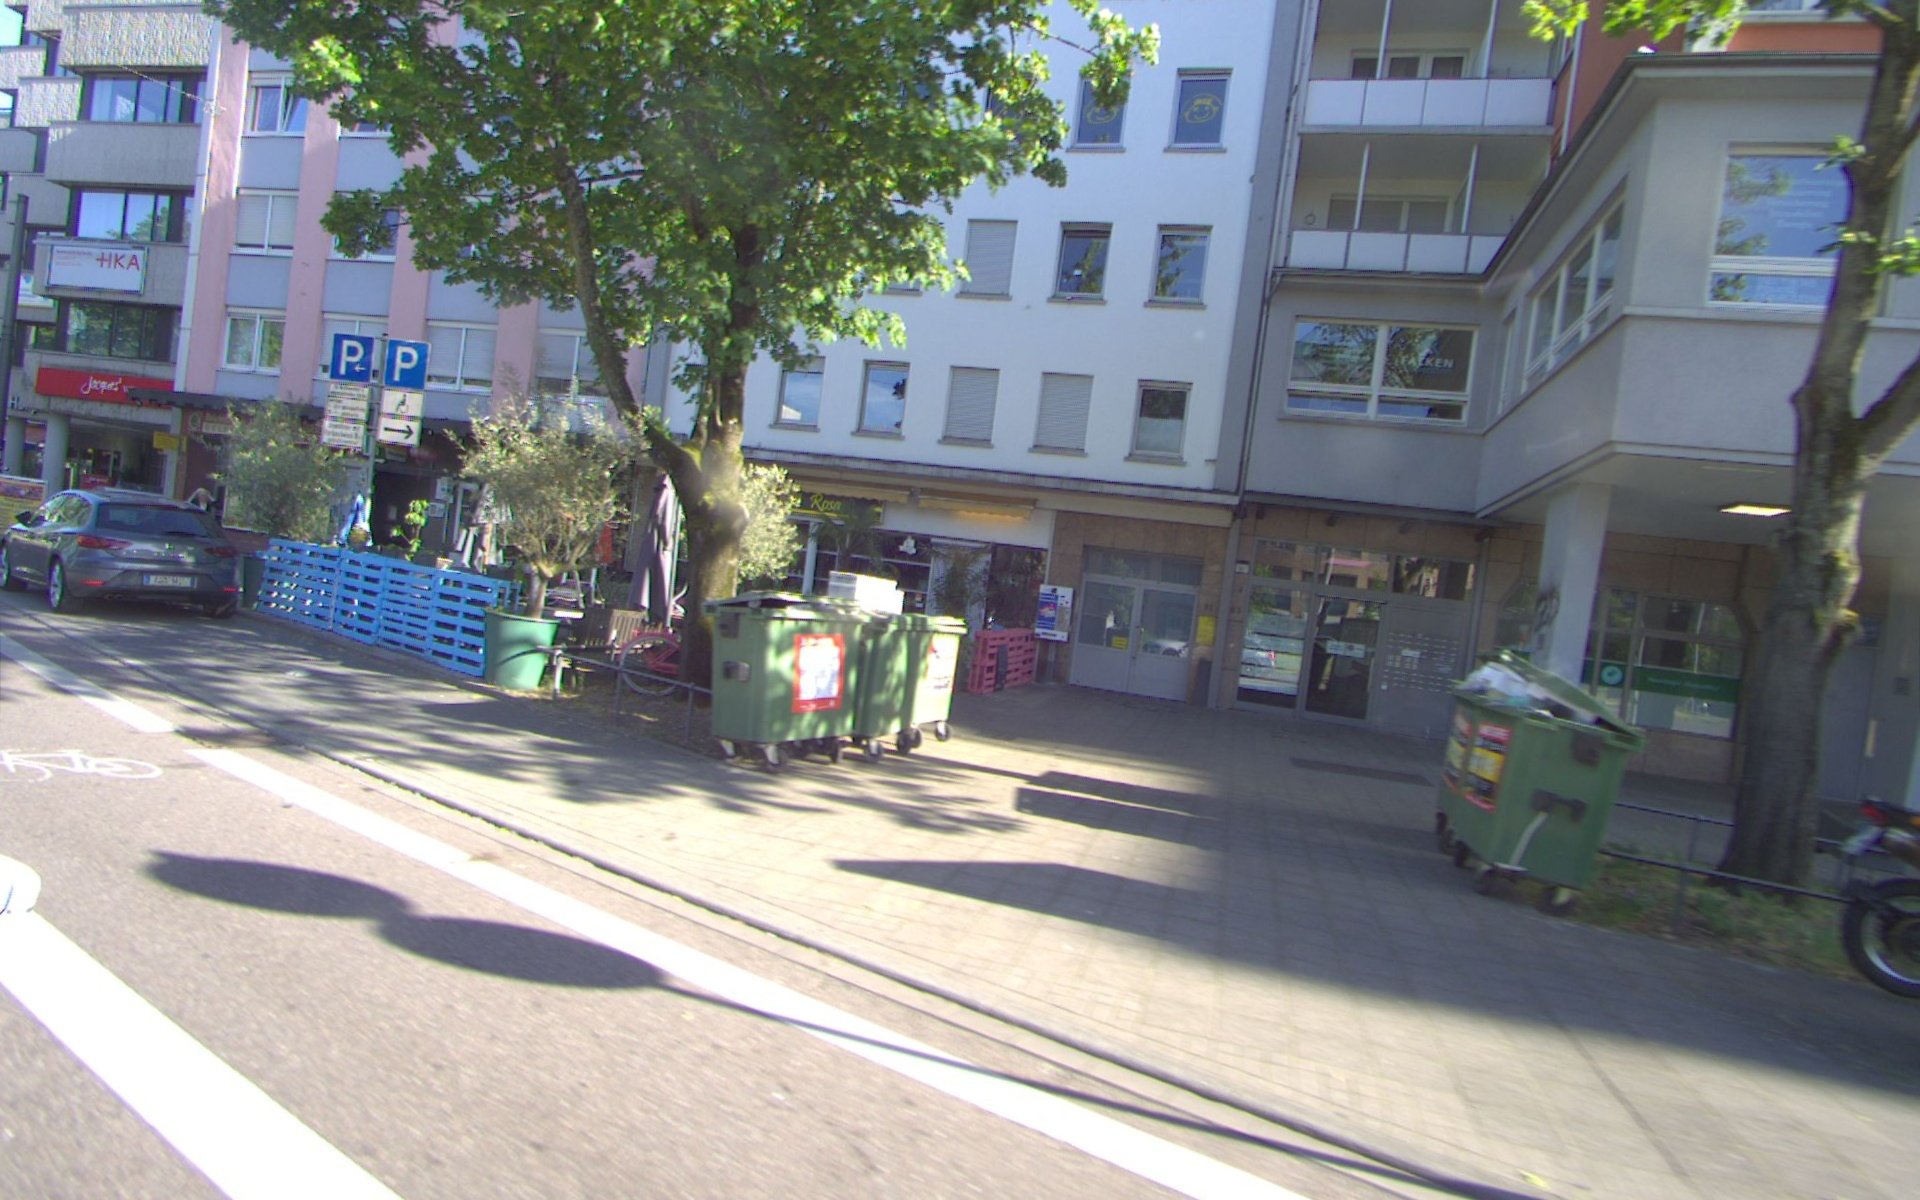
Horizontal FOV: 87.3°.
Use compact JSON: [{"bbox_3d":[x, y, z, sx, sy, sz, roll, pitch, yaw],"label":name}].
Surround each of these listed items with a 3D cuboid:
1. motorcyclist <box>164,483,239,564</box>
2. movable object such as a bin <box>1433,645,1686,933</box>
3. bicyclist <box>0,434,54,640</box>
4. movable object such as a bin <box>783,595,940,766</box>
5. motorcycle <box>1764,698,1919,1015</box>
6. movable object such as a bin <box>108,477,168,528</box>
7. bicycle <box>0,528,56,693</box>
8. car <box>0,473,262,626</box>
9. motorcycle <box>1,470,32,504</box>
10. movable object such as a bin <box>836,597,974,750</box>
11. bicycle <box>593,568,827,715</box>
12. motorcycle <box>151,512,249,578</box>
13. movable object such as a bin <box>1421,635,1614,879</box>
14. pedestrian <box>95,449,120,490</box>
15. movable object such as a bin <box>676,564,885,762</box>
[{"bbox_3d":[-16.194,-1.628,21.490,0.793,1.569,0.899,7,-1,30],"label":"motorcyclist"},{"bbox_3d":[4.066,1.200,6.993,0.989,1.660,1.385,7,0,15],"label":"movable object such as a bin"},{"bbox_3d":[-7.619,-0.537,7.381,0.971,1.501,1.040,7,-1,27],"label":"bicyclist"},{"bbox_3d":[-0.878,0.726,9.290,0.910,1.372,1.177,7,-1,17],"label":"movable object such as a bin"},{"bbox_3d":[5.947,1.489,5.211,2.498,1.558,0.805,8,0,22],"label":"motorcycle"},{"bbox_3d":[-26.652,-3.142,32.628,1.332,1.414,1.108,8,-1,-43],"label":"movable object such as a bin"},{"bbox_3d":[-7.839,-0.041,7.458,2.190,1.149,0.888,7,-1,27],"label":"bicycle"},{"bbox_3d":[-10.947,-0.710,13.056,4.513,1.457,1.764,8,2,38],"label":"car"},{"bbox_3d":[-37.016,-4.413,39.479,0.760,1.170,2.024,3,2,-40],"label":"motorcycle"},{"bbox_3d":[-0.553,0.766,10.661,0.941,1.407,1.217,7,-1,17],"label":"movable object such as a bin"},{"bbox_3d":[-2.631,0.449,10.641,2.144,1.266,0.892,7,1,-29],"label":"bicycle"},{"bbox_3d":[-16.277,-1.188,21.530,2.259,1.139,0.777,7,-1,30],"label":"motorcycle"},{"bbox_3d":[4.502,1.204,8.259,0.927,1.730,1.260,6,1,15],"label":"movable object such as a bin"},{"bbox_3d":[-41.923,-6.392,49.453,0.699,1.837,0.710,7,0,-35],"label":"pedestrian"},{"bbox_3d":[-1.441,0.516,8.233,0.907,1.408,1.282,7,-1,33],"label":"movable object such as a bin"}]
